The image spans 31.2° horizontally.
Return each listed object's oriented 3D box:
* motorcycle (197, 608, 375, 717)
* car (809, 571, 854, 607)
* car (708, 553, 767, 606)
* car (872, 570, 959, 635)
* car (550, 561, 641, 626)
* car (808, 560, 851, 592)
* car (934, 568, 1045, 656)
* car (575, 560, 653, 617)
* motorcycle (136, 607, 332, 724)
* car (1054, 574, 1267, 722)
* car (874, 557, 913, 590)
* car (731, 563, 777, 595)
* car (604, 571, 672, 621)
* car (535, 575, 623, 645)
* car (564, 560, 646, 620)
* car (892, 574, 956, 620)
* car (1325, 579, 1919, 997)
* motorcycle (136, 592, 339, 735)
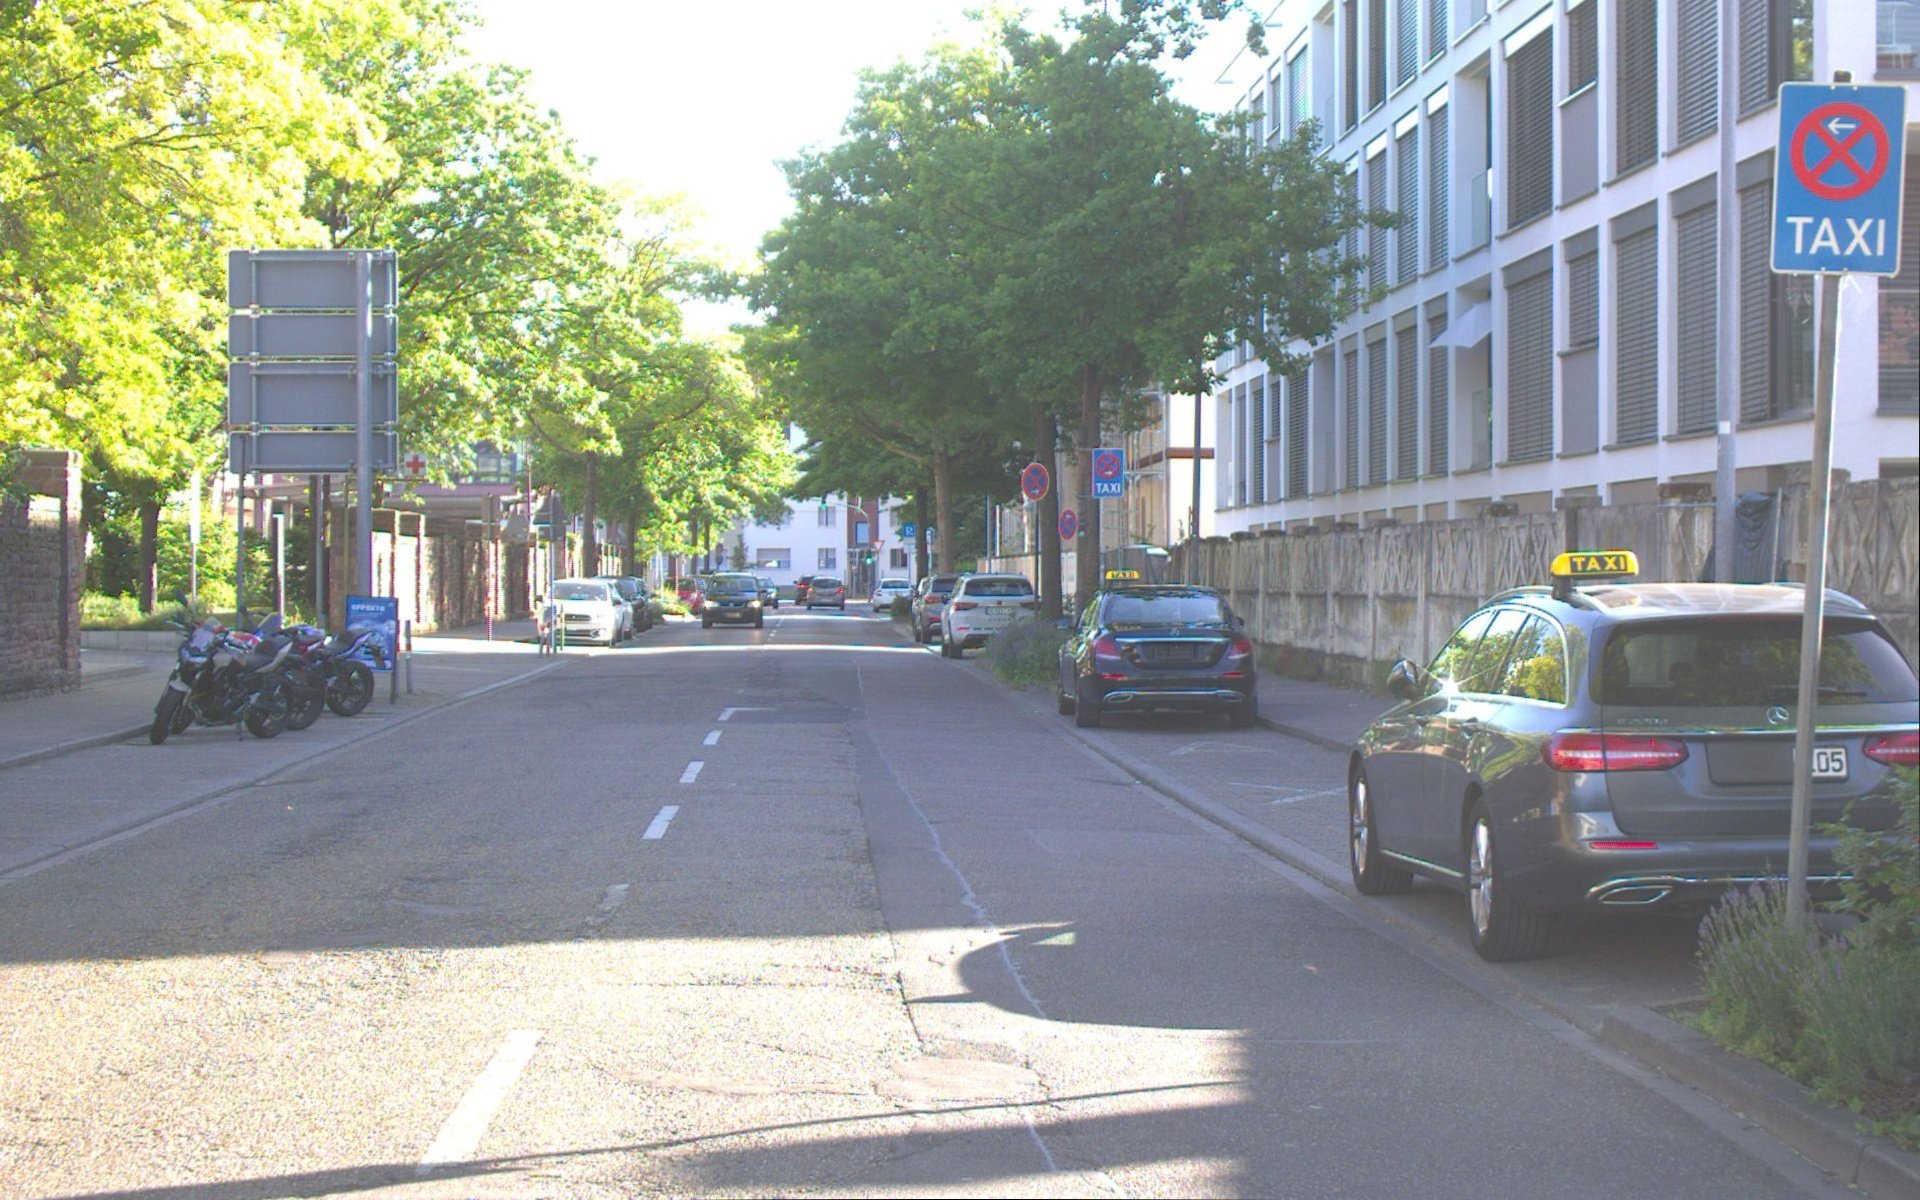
[{"bbox_3d":[-7.099,0.643,36.320,0.577,1.071,2.118,0,1,31],"label":"motorcycle"},{"bbox_3d":[-5.728,-0.516,153.054,1.766,1.543,4.067,0,1,-5],"label":"car"},{"bbox_3d":[-6.520,-0.628,100.962,1.653,1.525,4.000,0,1,-2],"label":"car"},{"bbox_3d":[-1.065,0.041,80.620,1.993,1.460,3.837,0,1,-1],"label":"car"},{"bbox_3d":[-8.741,-0.179,82.664,1.907,1.525,4.000,0,1,-2],"label":"car"},{"bbox_3d":[-5.795,-1.084,153.176,1.889,1.395,3.837,0,1,-1],"label":"car"},{"bbox_3d":[0.530,0.201,64.903,1.950,1.573,3.837,0,1,-1],"label":"car"},{"bbox_3d":[-9.533,-0.345,94.818,1.907,1.525,4.000,0,1,-2],"label":"car"},{"bbox_3d":[-7.046,0.620,33.486,0.577,1.071,2.118,0,1,31],"label":"motorcycle"},{"bbox_3d":[2.047,0.462,36.158,1.767,1.435,4.001,0,1,-4],"label":"car"},{"bbox_3d":[-2.831,-1.139,145.851,1.585,1.395,3.837,0,1,-1],"label":"car"},{"bbox_3d":[-9.560,-0.963,159.729,1.993,1.448,4.000,0,1,-1],"label":"car"},{"bbox_3d":[-10.095,-0.135,107.875,1.907,1.525,4.000,0,1,-2],"label":"car"},{"bbox_3d":[-8.473,0.208,76.678,1.767,1.482,4.001,0,1,-4],"label":"car"},{"bbox_3d":[-9.332,-0.290,90.680,1.907,1.525,4.000,0,1,-2],"label":"car"},{"bbox_3d":[-1.187,-0.115,111.647,1.993,1.420,3.837,0,1,-1],"label":"car"},{"bbox_3d":[2.785,0.666,14.783,1.703,1.463,4.789,0,1,-3],"label":"car"},{"bbox_3d":[-6.759,0.576,32.290,0.577,1.271,2.118,0,1,31],"label":"motorcycle"}]
